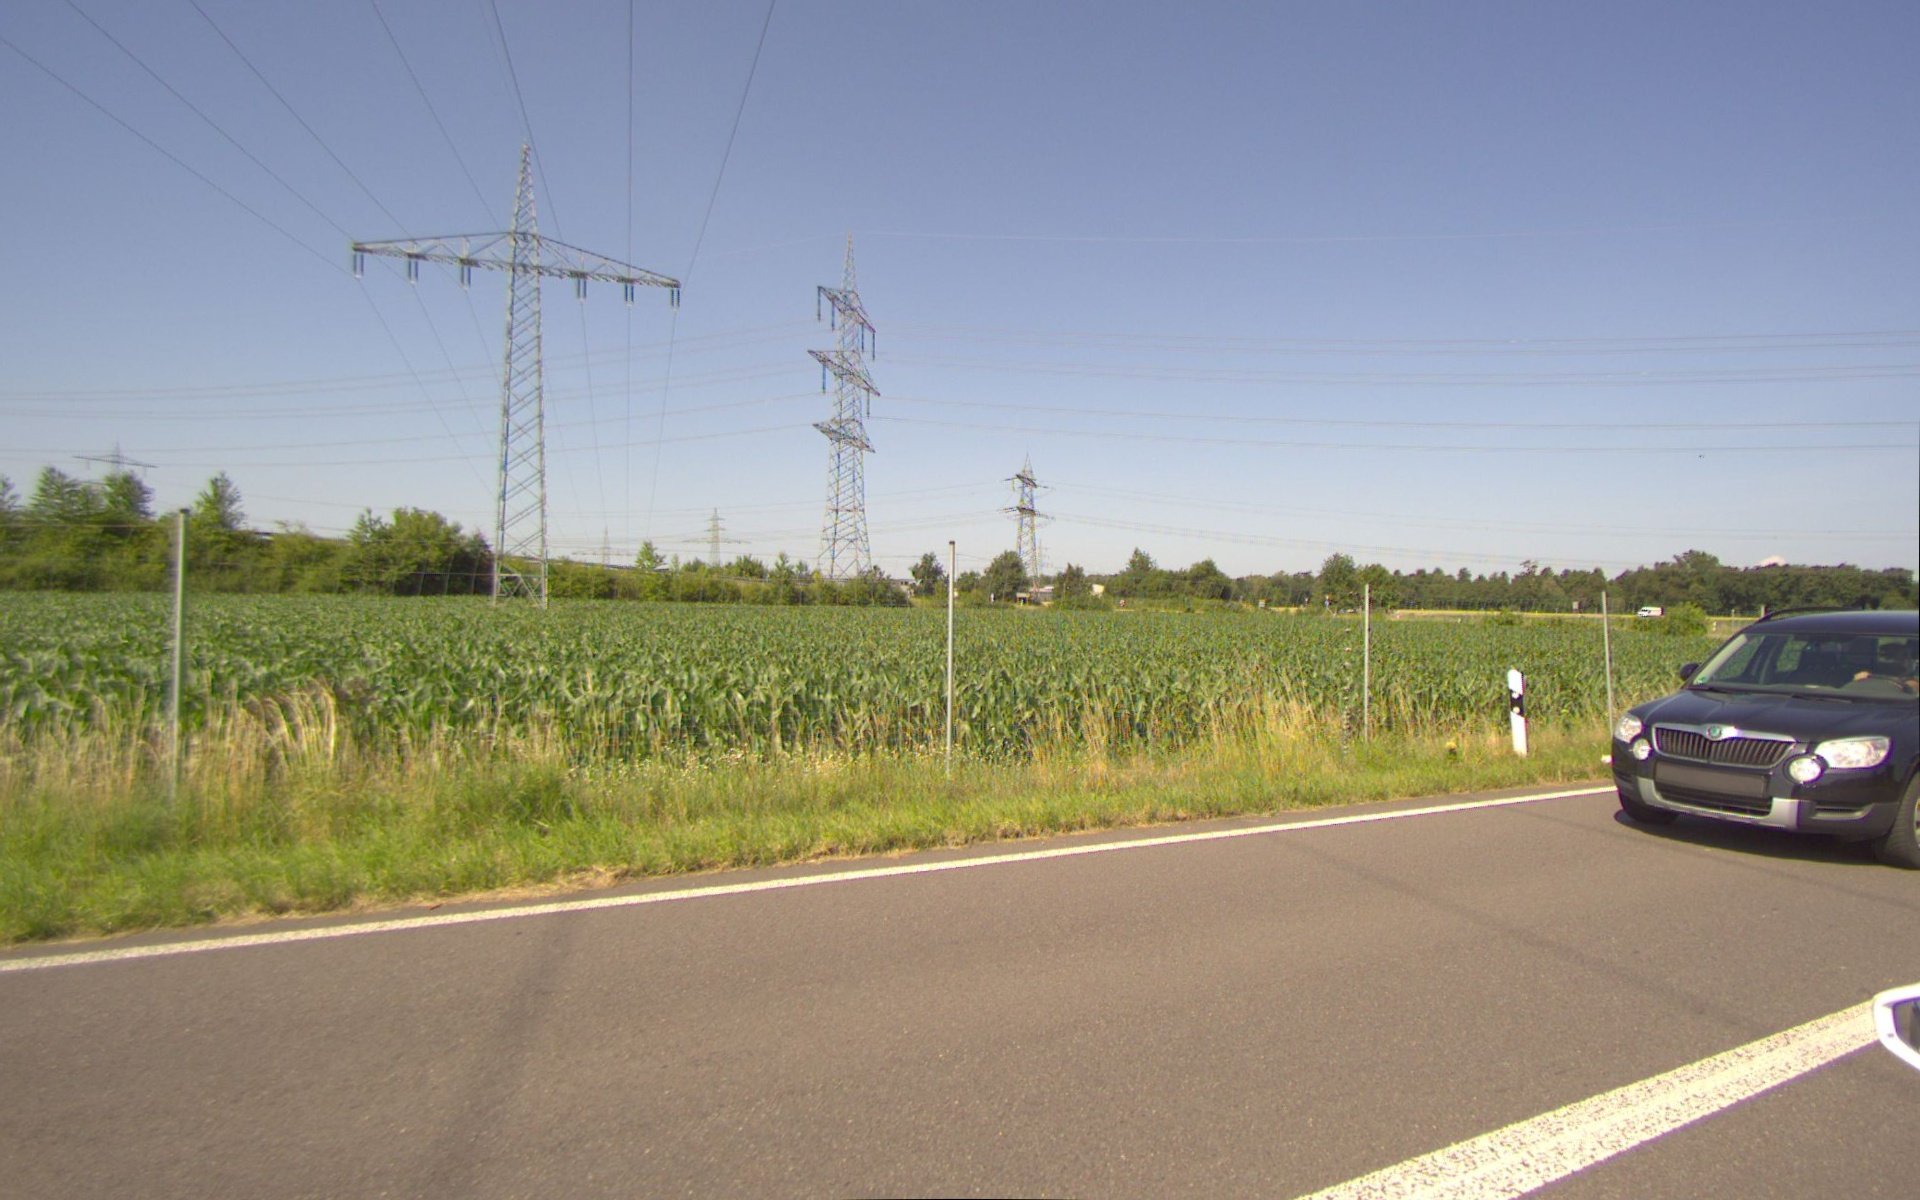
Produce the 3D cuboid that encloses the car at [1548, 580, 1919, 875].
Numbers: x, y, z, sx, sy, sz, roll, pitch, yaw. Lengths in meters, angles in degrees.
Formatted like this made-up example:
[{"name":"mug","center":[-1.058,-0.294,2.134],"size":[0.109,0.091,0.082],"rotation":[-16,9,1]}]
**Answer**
[{"name":"car","center":[6.774,0.827,7.799],"size":[4.210,1.729,1.975],"rotation":[2,-2,-29]}]
